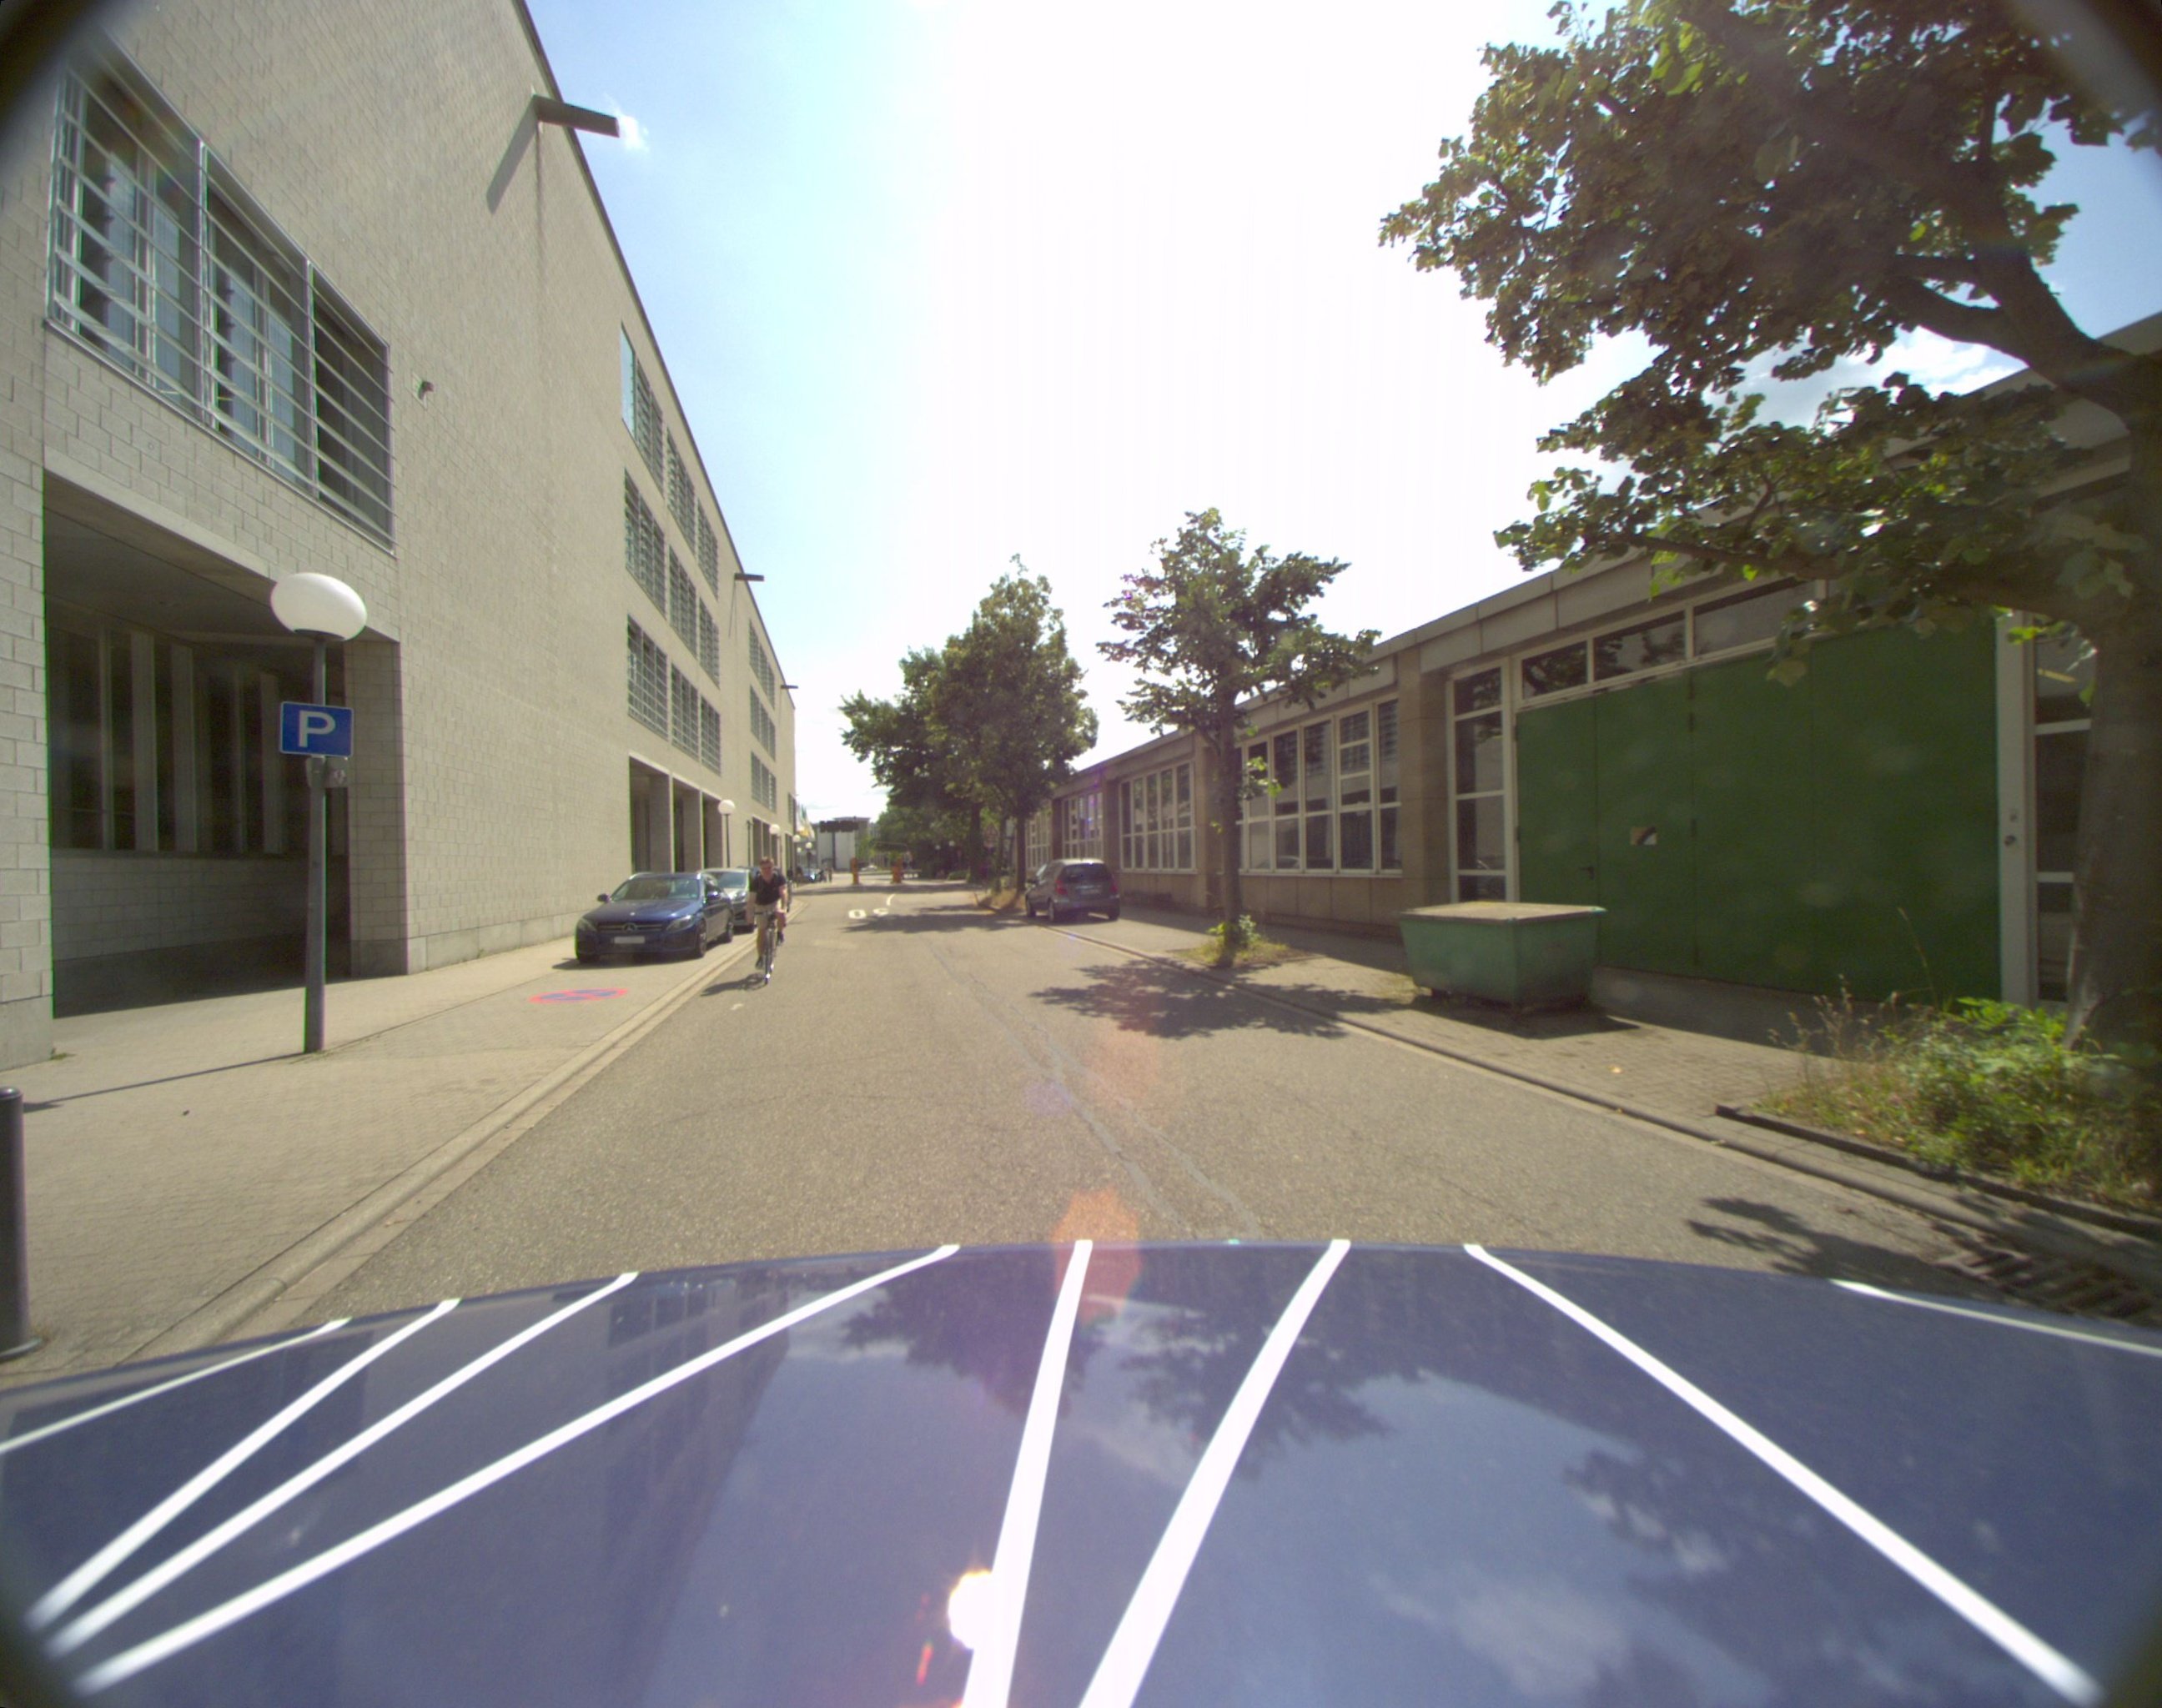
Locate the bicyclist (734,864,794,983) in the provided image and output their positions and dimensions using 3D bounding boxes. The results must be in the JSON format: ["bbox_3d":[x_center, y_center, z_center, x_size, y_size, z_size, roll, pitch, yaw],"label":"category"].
[{"bbox_3d":[-4.296,0.910,10.344,0.605,1.526,0.727,-2,1,-14],"label":"bicyclist"}]

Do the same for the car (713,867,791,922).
[{"bbox_3d":[-10.507,1.228,24.537,1.853,1.572,4.128,-1,0,-17],"label":"car"}]

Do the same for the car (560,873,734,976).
[{"bbox_3d":[-7.557,1.114,13.693,1.853,1.467,4.128,-1,0,-17],"label":"car"}]

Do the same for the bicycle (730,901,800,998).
[{"bbox_3d":[-4.340,1.267,10.552,0.605,1.101,1.828,-2,0,-14],"label":"bicycle"}]

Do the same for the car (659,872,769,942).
[{"bbox_3d":[-8.957,1.204,18.895,1.853,1.467,4.128,-1,0,-17],"label":"car"}]

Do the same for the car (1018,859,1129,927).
[{"bbox_3d":[-0.329,0.973,20.597,1.853,1.568,4.128,-2,0,-17],"label":"car"}]
